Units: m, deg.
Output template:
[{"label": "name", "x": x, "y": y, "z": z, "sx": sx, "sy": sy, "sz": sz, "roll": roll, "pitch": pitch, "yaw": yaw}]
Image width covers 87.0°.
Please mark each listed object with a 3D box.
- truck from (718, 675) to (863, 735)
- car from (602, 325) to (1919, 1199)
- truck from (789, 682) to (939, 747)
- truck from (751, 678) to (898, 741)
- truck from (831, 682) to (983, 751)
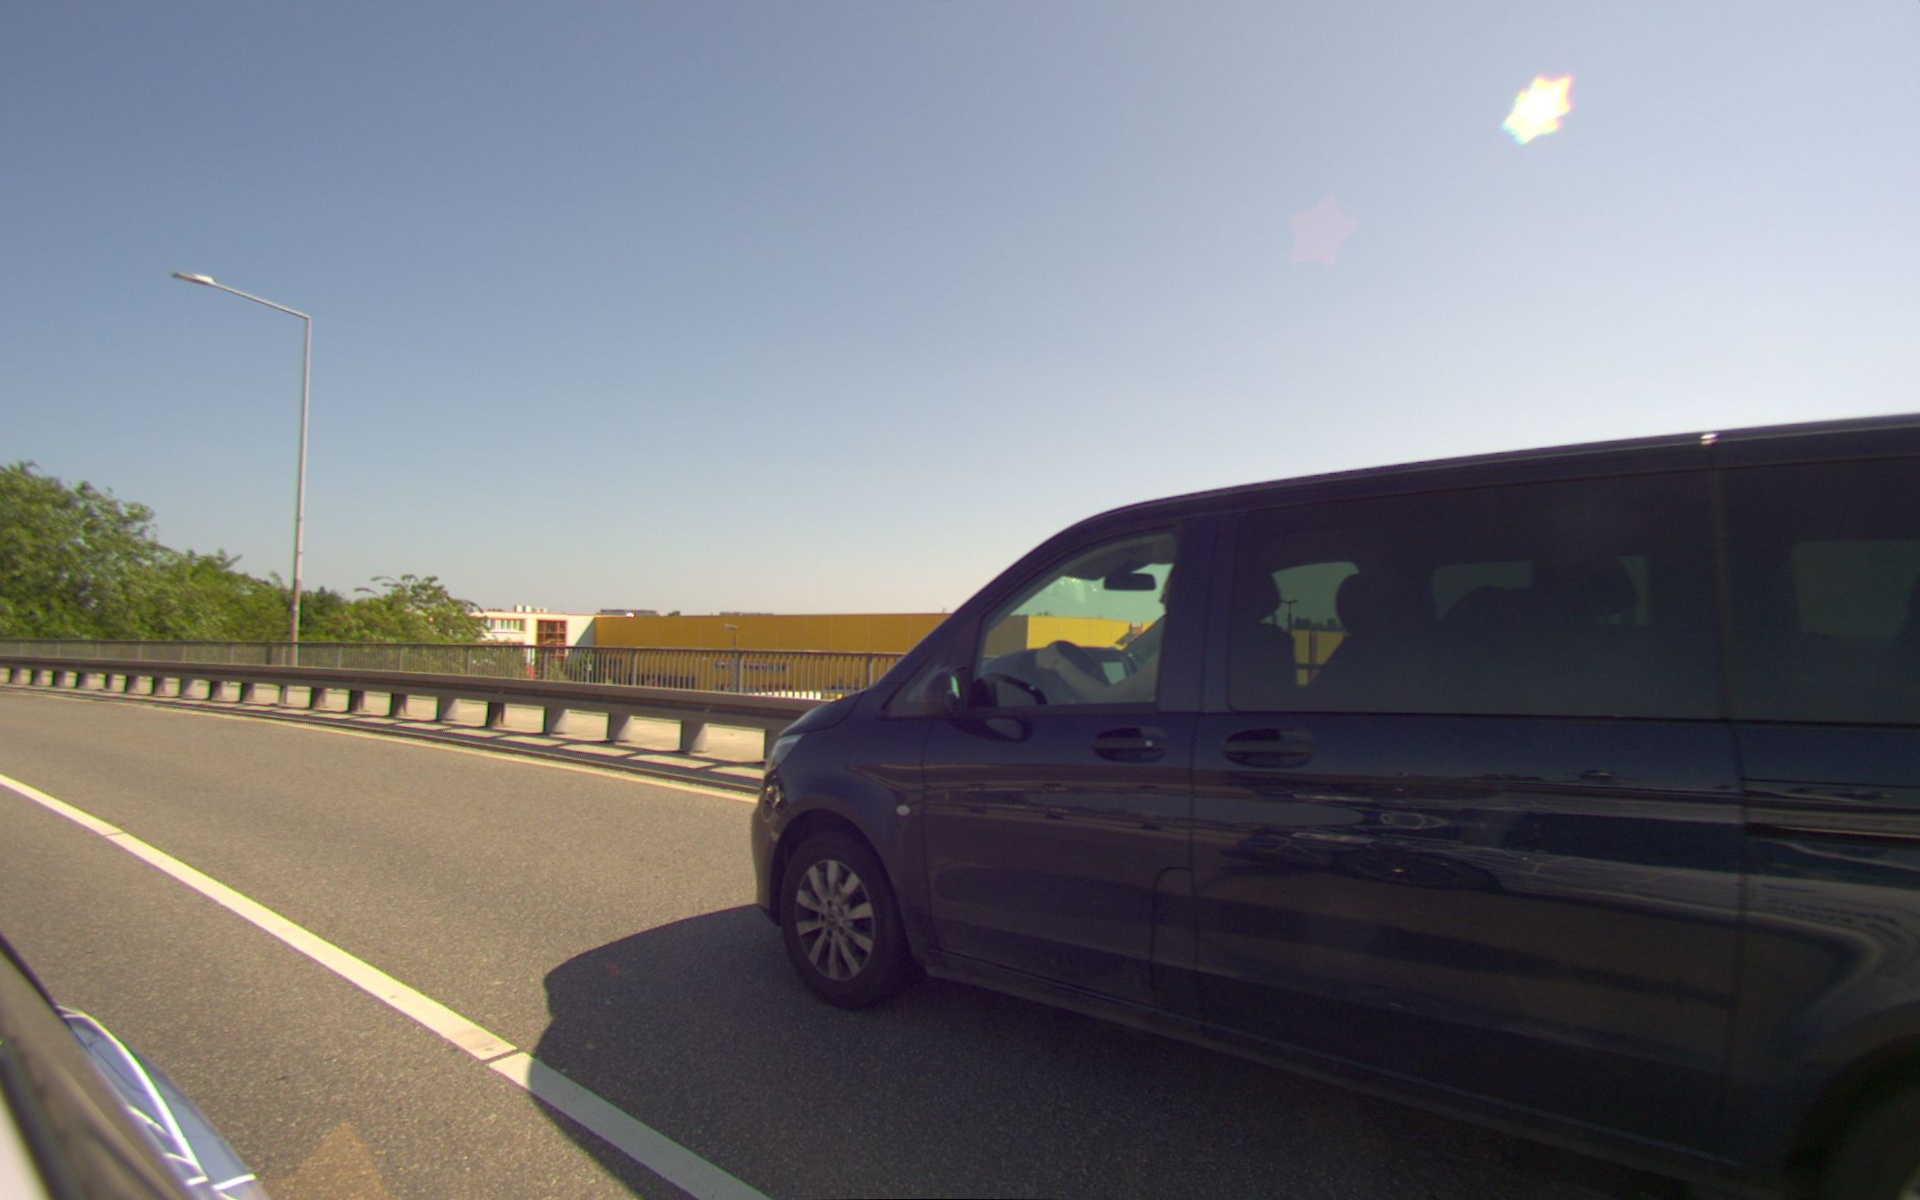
[{"label": "truck", "x": -19.928, "y": 12.314, "z": 121.005, "sx": 5.973, "sy": 5.720, "sz": 17.308, "roll": -1, "pitch": -2, "yaw": 41}, {"label": "car", "x": 1.228, "y": 0.502, "z": 3.565, "sx": 5.911, "sy": 1.903, "sz": 2.054, "roll": -2, "pitch": -1, "yaw": 41}, {"label": "truck", "x": -10.359, "y": 12.440, "z": 112.693, "sx": 5.973, "sy": 5.720, "sz": 17.308, "roll": -1, "pitch": -2, "yaw": 41}, {"label": "truck", "x": -15.295, "y": 12.375, "z": 116.840, "sx": 5.786, "sy": 5.720, "sz": 17.308, "roll": -1, "pitch": -2, "yaw": 41}, {"label": "truck", "x": -5.281, "y": 12.182, "z": 108.208, "sx": 5.973, "sy": 5.720, "sz": 17.308, "roll": -1, "pitch": -2, "yaw": 41}]
